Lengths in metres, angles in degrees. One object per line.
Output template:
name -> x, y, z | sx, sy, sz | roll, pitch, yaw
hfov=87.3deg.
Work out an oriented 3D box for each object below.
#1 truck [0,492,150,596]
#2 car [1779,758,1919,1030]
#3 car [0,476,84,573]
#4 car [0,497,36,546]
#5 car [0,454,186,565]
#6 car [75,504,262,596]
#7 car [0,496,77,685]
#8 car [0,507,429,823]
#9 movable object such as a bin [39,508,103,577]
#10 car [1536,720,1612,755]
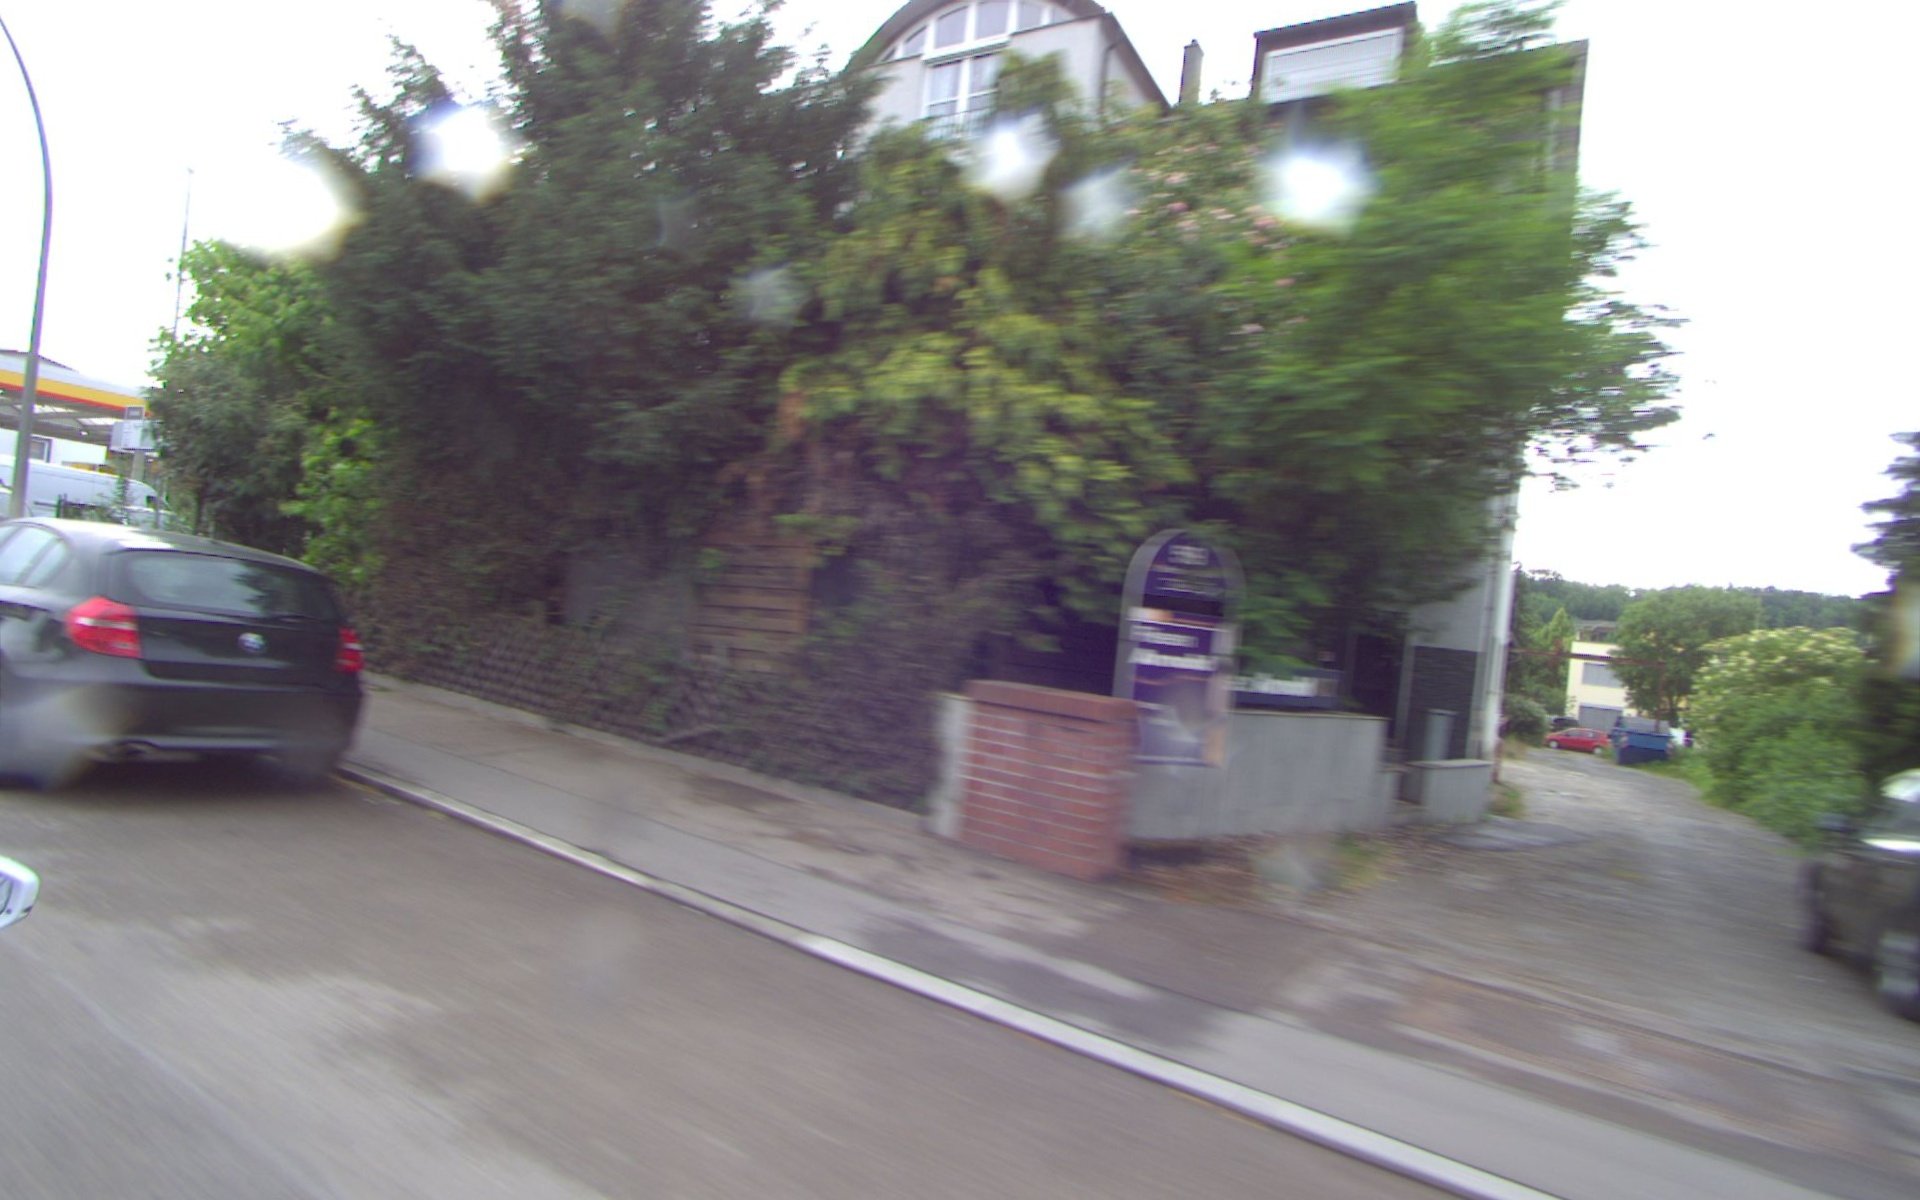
truck -> -16.487, -1.040, 18.173 | 1.307, 1.547, 2.555 | 7, -2, 39
car -> 6.894, 1.933, 6.657 | 1.673, 1.444, 3.998 | 7, -4, 33
car -> -19.691, -1.658, 20.022 | 3.930, 1.703, 1.998 | 7, -1, 27
car -> -29.017, -2.435, 28.982 | 1.752, 1.391, 3.989 | 7, -1, -15
car -> -26.047, -2.619, 29.544 | 2.204, 2.551, 4.808 | 7, -1, 10
car -> -16.874, -1.064, 21.428 | 3.667, 1.540, 1.748 | 7, 2, 28
car -> -9.656, -0.320, 8.869 | 3.818, 1.519, 1.741 | 7, -3, 33
car -> -5.335, 0.243, 6.377 | 3.657, 1.418, 1.742 | 7, -3, 32
movable object such as a bin -> -15.330, -0.988, 17.353 | 0.670, 1.088, 0.575 | 7, 0, 31
car -> 39.888, 8.928, 65.444 | 3.930, 1.548, 1.999 | 7, -2, 27
